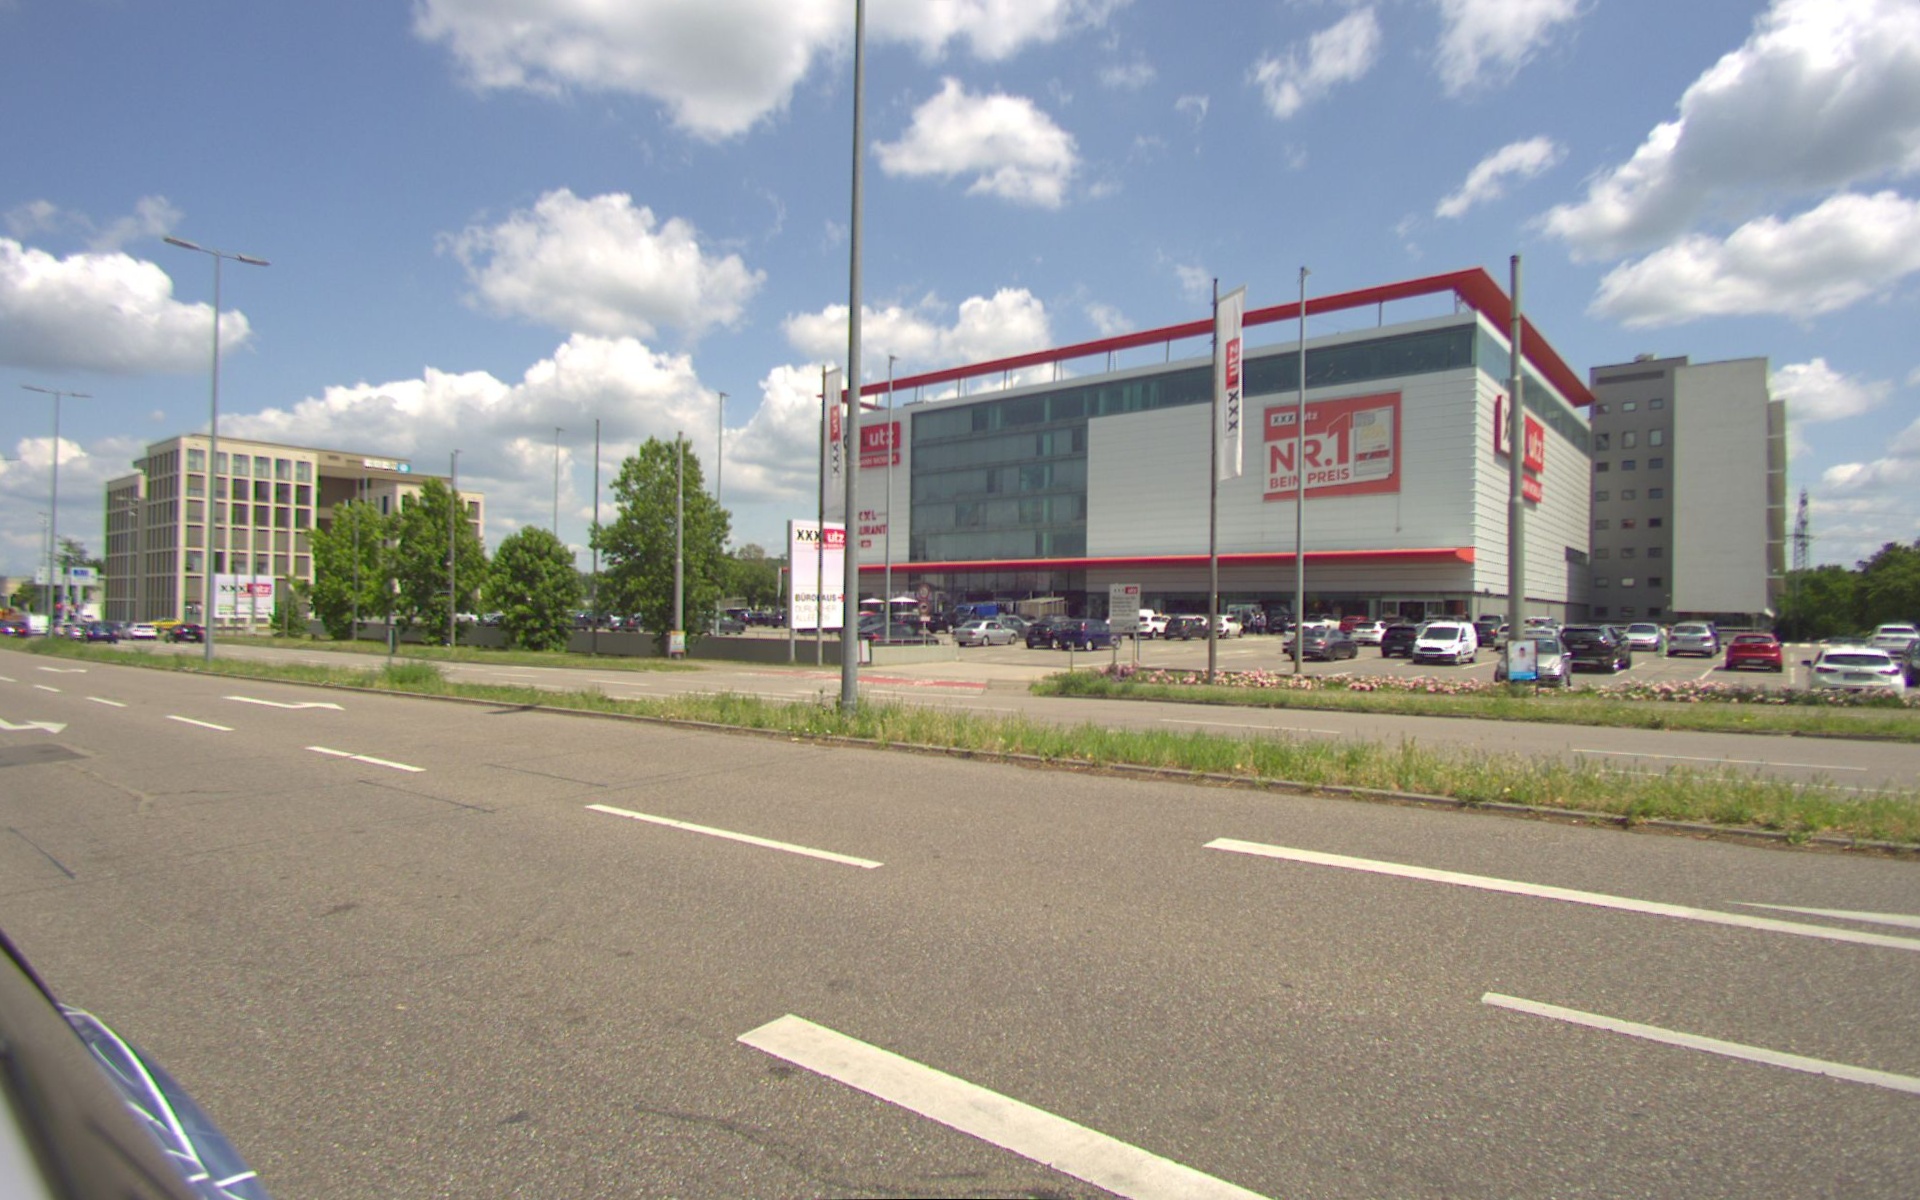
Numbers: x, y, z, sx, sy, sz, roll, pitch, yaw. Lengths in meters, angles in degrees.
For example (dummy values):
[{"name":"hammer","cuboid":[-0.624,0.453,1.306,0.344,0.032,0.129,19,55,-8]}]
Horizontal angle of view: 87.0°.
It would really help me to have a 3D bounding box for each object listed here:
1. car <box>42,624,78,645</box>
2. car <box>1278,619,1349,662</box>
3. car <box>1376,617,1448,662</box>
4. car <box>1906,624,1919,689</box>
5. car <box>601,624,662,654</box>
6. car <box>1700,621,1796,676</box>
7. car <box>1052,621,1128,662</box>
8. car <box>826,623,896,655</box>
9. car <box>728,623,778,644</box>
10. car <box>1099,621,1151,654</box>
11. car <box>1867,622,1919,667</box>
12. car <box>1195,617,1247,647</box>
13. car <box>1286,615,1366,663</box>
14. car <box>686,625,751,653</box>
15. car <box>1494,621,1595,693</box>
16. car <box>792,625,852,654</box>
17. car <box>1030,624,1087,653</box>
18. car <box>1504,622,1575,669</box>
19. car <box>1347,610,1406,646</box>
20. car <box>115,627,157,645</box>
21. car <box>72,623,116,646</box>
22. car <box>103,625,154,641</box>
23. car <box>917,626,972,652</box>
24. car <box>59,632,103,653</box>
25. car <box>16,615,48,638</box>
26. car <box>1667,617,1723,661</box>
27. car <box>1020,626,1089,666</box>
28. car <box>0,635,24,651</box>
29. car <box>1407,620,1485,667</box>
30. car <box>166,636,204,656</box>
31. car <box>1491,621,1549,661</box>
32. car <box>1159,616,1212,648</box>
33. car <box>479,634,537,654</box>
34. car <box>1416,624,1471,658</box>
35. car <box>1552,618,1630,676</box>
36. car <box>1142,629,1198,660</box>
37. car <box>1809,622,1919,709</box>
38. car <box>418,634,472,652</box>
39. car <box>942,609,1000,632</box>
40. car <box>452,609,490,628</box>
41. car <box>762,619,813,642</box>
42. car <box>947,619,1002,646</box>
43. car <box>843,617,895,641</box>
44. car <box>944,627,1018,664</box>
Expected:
[{"name":"car","cuboid":[-74.542,2.846,83.784,4.226,1.714,1.772,-2,-3,42]},{"name":"car","cuboid":[17.636,1.985,50.381,1.998,2.004,4.306,1,-1,39]},{"name":"car","cuboid":[20.901,1.801,46.754,1.998,2.004,4.306,-1,-2,39]},{"name":"car","cuboid":[31.366,1.781,31.839,1.998,2.004,4.306,-1,-2,39]},{"name":"car","cuboid":[-26.505,3.147,81.719,1.998,2.347,4.306,-1,-2,39]},{"name":"car","cuboid":[30.709,1.846,39.617,1.990,2.004,5.259,-1,-2,27]},{"name":"car","cuboid":[6.855,2.126,52.905,1.998,2.004,4.306,-1,-1,39]},{"name":"car","cuboid":[-6.295,2.479,64.709,1.998,2.004,4.306,-1,-2,39]},{"name":"car","cuboid":[-19.376,3.132,94.716,1.998,2.004,4.306,-1,-2,39]},{"name":"car","cuboid":[12.302,2.778,75.126,1.868,2.324,4.511,-1,-2,39]},{"name":"car","cuboid":[44.301,2.085,47.731,1.998,2.004,4.306,-1,-2,39]},{"name":"car","cuboid":[17.995,2.191,69.691,1.998,2.029,3.947,-2,-2,39]},{"name":"car","cuboid":[16.155,1.713,44.552,1.998,2.004,4.306,-1,-2,39]},{"name":"car","cuboid":[-17.557,2.854,73.737,1.998,2.004,4.306,-3,-3,39]},{"name":"car","cuboid":[17.844,1.680,30.807,1.998,2.004,4.306,-1,-2,39]},{"name":"car","cuboid":[-10.177,2.920,74.779,1.989,2.058,4.244,-1,-2,39]},{"name":"car","cuboid":[7.133,2.781,72.662,1.999,2.004,4.304,-2,-3,40]},{"name":"car","cuboid":[25.071,1.933,43.740,1.998,1.896,4.306,-1,-2,39]},{"name":"car","cuboid":[24.120,1.643,58.517,1.998,2.004,4.306,-1,-2,39]},{"name":"car","cuboid":[-69.875,3.035,85.830,4.347,1.484,1.605,-2,-3,34]},{"name":"car","cuboid":[-58.656,2.318,68.528,3.674,1.486,1.721,0,-2,41]},{"name":"car","cuboid":[-89.005,3.573,108.343,3.932,1.704,1.864,2,-3,-31]},{"name":"car","cuboid":[-1.180,3.020,78.893,1.998,2.004,4.306,-1,-2,39]},{"name":"car","cuboid":[-64.778,3.145,74.550,4.672,1.429,1.772,-1,-4,42]},{"name":"car","cuboid":[-85.161,2.435,92.839,3.576,2.059,1.837,-2,-3,43]},{"name":"car","cuboid":[35.339,1.868,48.619,1.997,2.004,4.567,-1,-2,38]},{"name":"car","cuboid":[5.128,2.459,54.610,1.841,2.004,4.032,-1,-1,38]},{"name":"car","cuboid":[-77.932,3.519,82.700,4.306,1.260,1.772,-2,-3,42]},{"name":"car","cuboid":[20.360,1.778,42.329,1.998,1.853,4.306,-1,-2,39]},{"name":"car","cuboid":[-57.988,3.425,75.712,4.117,1.481,1.601,-2,-3,44]},{"name":"car","cuboid":[29.351,2.125,52.959,1.998,2.004,4.032,-1,-2,39]},{"name":"car","cuboid":[14.723,2.067,65.893,1.775,2.029,3.947,-2,-2,39]},{"name":"car","cuboid":[-36.897,3.570,82.681,1.849,1.608,3.944,-2,-3,42]},{"name":"car","cuboid":[28.707,2.416,60.015,1.998,1.896,4.306,-1,-2,39]},{"name":"car","cuboid":[23.867,1.715,38.212,1.998,2.004,4.537,0,-1,39]},{"name":"car","cuboid":[14.324,3.013,68.913,1.998,2.004,4.306,-1,-2,39]},{"name":"car","cuboid":[22.830,1.581,25.572,1.998,2.004,4.306,-1,-2,39]},{"name":"car","cuboid":[-47.008,3.896,92.478,1.918,1.608,3.944,-2,-3,42]},{"name":"car","cuboid":[0.966,1.764,85.074,2.196,1.792,5.067,-2,-3,38]},{"name":"car","cuboid":[-52.035,1.990,107.702,4.669,1.847,1.831,-2,-3,39]},{"name":"car","cuboid":[-15.554,2.761,91.200,1.998,2.004,4.306,-1,-2,39]},{"name":"car","cuboid":[1.105,2.494,77.356,1.998,2.004,4.306,-1,-2,39]},{"name":"car","cuboid":[-7.703,2.466,86.220,1.998,2.004,4.306,-1,-2,39]},{"name":"car","cuboid":[1.239,2.526,57.316,1.998,2.004,4.306,-1,-2,39]}]
